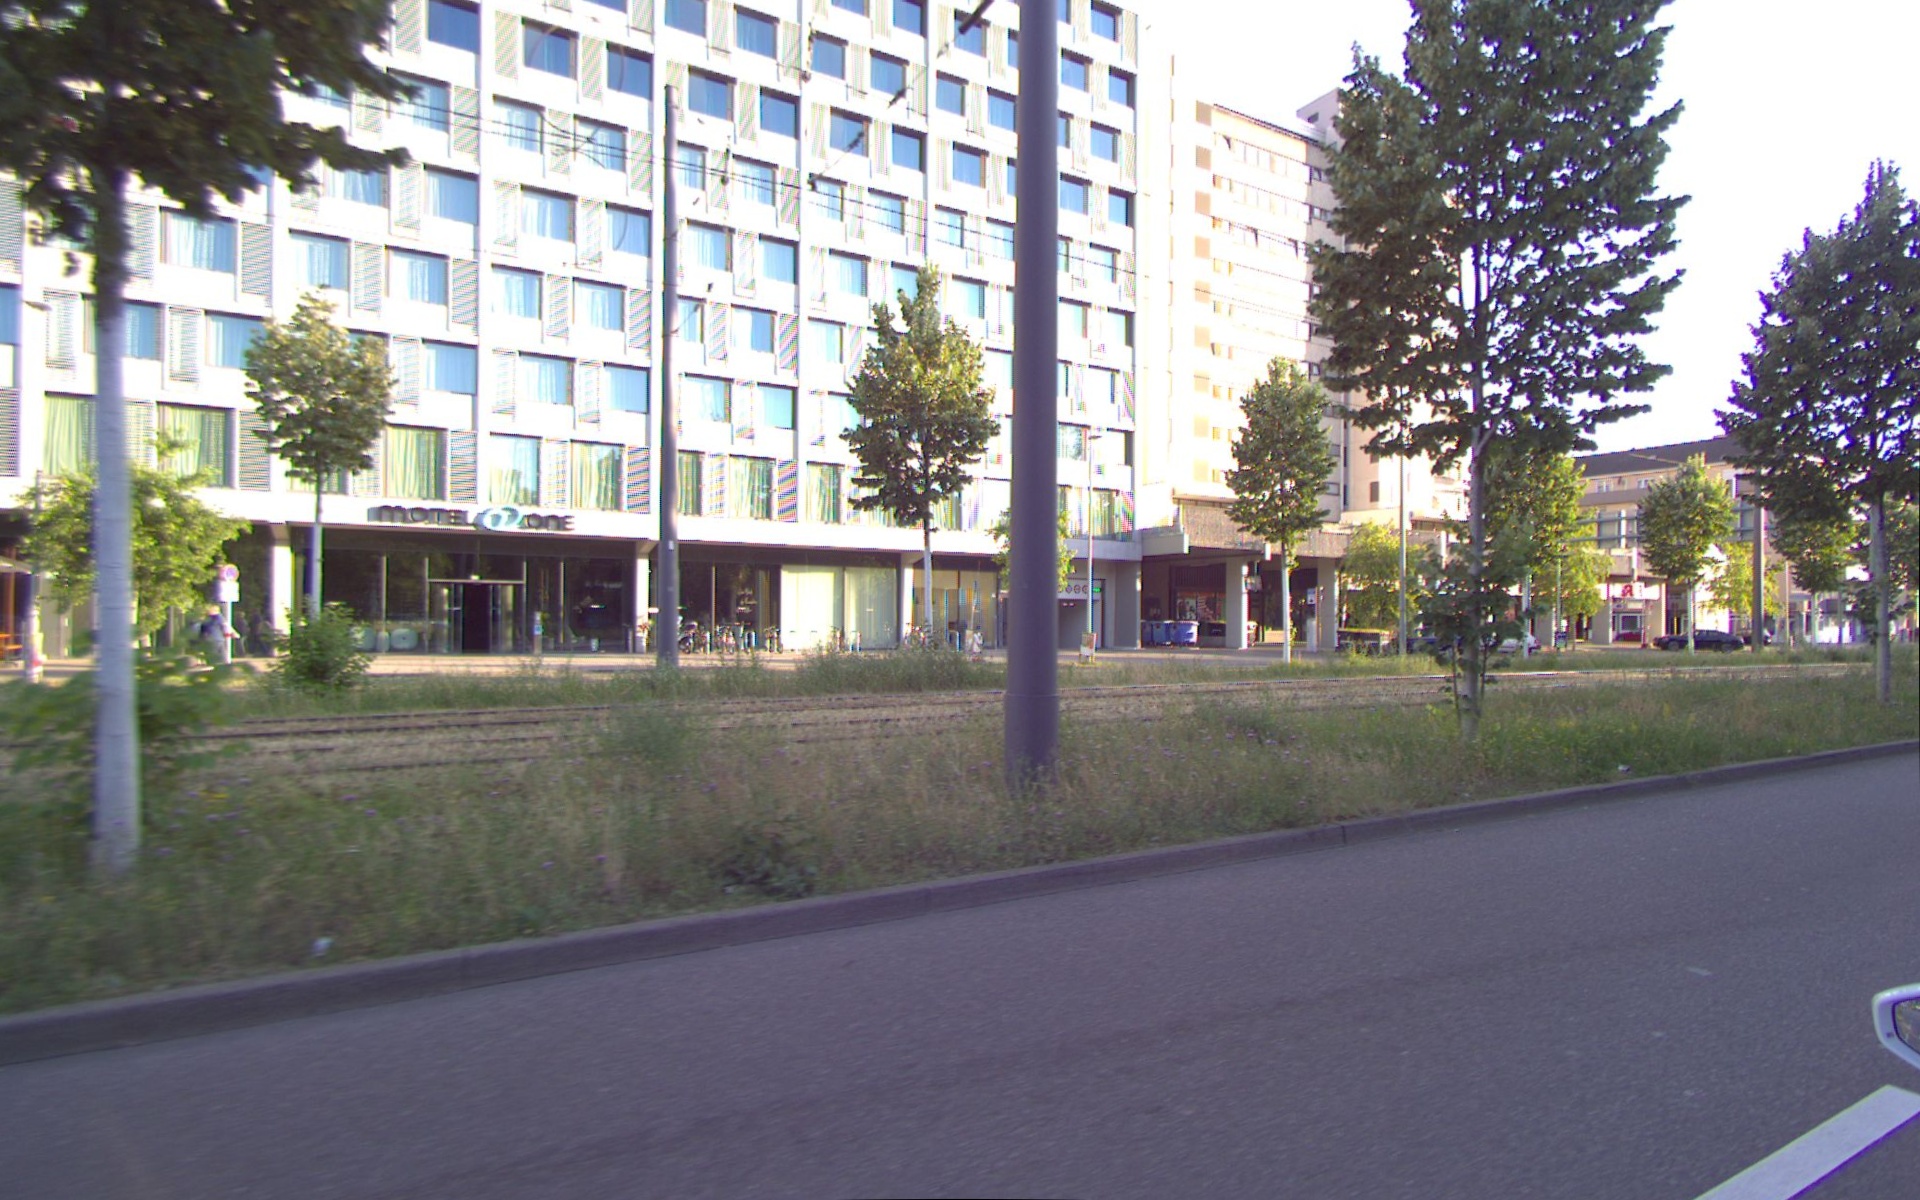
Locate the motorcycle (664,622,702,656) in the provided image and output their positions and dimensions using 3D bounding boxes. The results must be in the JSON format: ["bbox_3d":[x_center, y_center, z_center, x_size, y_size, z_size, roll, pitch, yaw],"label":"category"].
[{"bbox_3d":[-10.423,1.444,37.720,0.512,1.187,1.872,1,0,-45],"label":"motorcycle"}]

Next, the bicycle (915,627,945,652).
[{"bbox_3d":[-1.283,1.659,42.606,0.417,1.033,1.777,1,-1,-33],"label":"bicycle"}]

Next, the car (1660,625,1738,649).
[{"bbox_3d":[47.288,2.358,64.353,3.656,1.469,1.745,0,-2,17],"label":"car"}]

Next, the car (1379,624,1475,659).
[{"bbox_3d":[23.268,2.059,50.224,4.201,1.611,2.009,0,-1,20],"label":"car"}]

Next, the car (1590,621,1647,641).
[{"bbox_3d":[66.015,3.137,100.753,2.141,1.792,4.309,-1,-3,-30],"label":"car"}]

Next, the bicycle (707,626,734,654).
[{"bbox_3d":[-9.237,1.534,38.684,0.417,1.033,1.777,1,-1,-33],"label":"bicycle"}]

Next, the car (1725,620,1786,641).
[{"bbox_3d":[73.090,2.819,92.353,2.166,1.870,3.914,1,-1,-31],"label":"car"}]

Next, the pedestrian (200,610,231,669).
[{"bbox_3d":[-20.603,1.087,27.809,0.596,1.621,0.494,1,1,-29],"label":"pedestrian"}]

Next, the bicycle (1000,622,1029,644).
[{"bbox_3d":[2.579,1.572,47.755,0.417,1.033,1.777,1,-1,-33],"label":"bicycle"}]

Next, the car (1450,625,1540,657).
[{"bbox_3d":[28.590,2.171,53.828,4.050,1.455,1.825,2,1,21],"label":"car"}]

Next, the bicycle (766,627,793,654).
[{"bbox_3d":[-7.092,1.577,39.413,0.417,1.033,1.732,1,-1,-33],"label":"bicycle"}]

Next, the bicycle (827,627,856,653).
[{"bbox_3d":[-4.843,1.615,40.889,0.417,1.033,1.777,1,-1,-33],"label":"bicycle"}]

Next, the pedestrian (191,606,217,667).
[{"bbox_3d":[-21.125,1.007,28.088,0.510,1.678,0.427,1,1,-29],"label":"pedestrian"}]
